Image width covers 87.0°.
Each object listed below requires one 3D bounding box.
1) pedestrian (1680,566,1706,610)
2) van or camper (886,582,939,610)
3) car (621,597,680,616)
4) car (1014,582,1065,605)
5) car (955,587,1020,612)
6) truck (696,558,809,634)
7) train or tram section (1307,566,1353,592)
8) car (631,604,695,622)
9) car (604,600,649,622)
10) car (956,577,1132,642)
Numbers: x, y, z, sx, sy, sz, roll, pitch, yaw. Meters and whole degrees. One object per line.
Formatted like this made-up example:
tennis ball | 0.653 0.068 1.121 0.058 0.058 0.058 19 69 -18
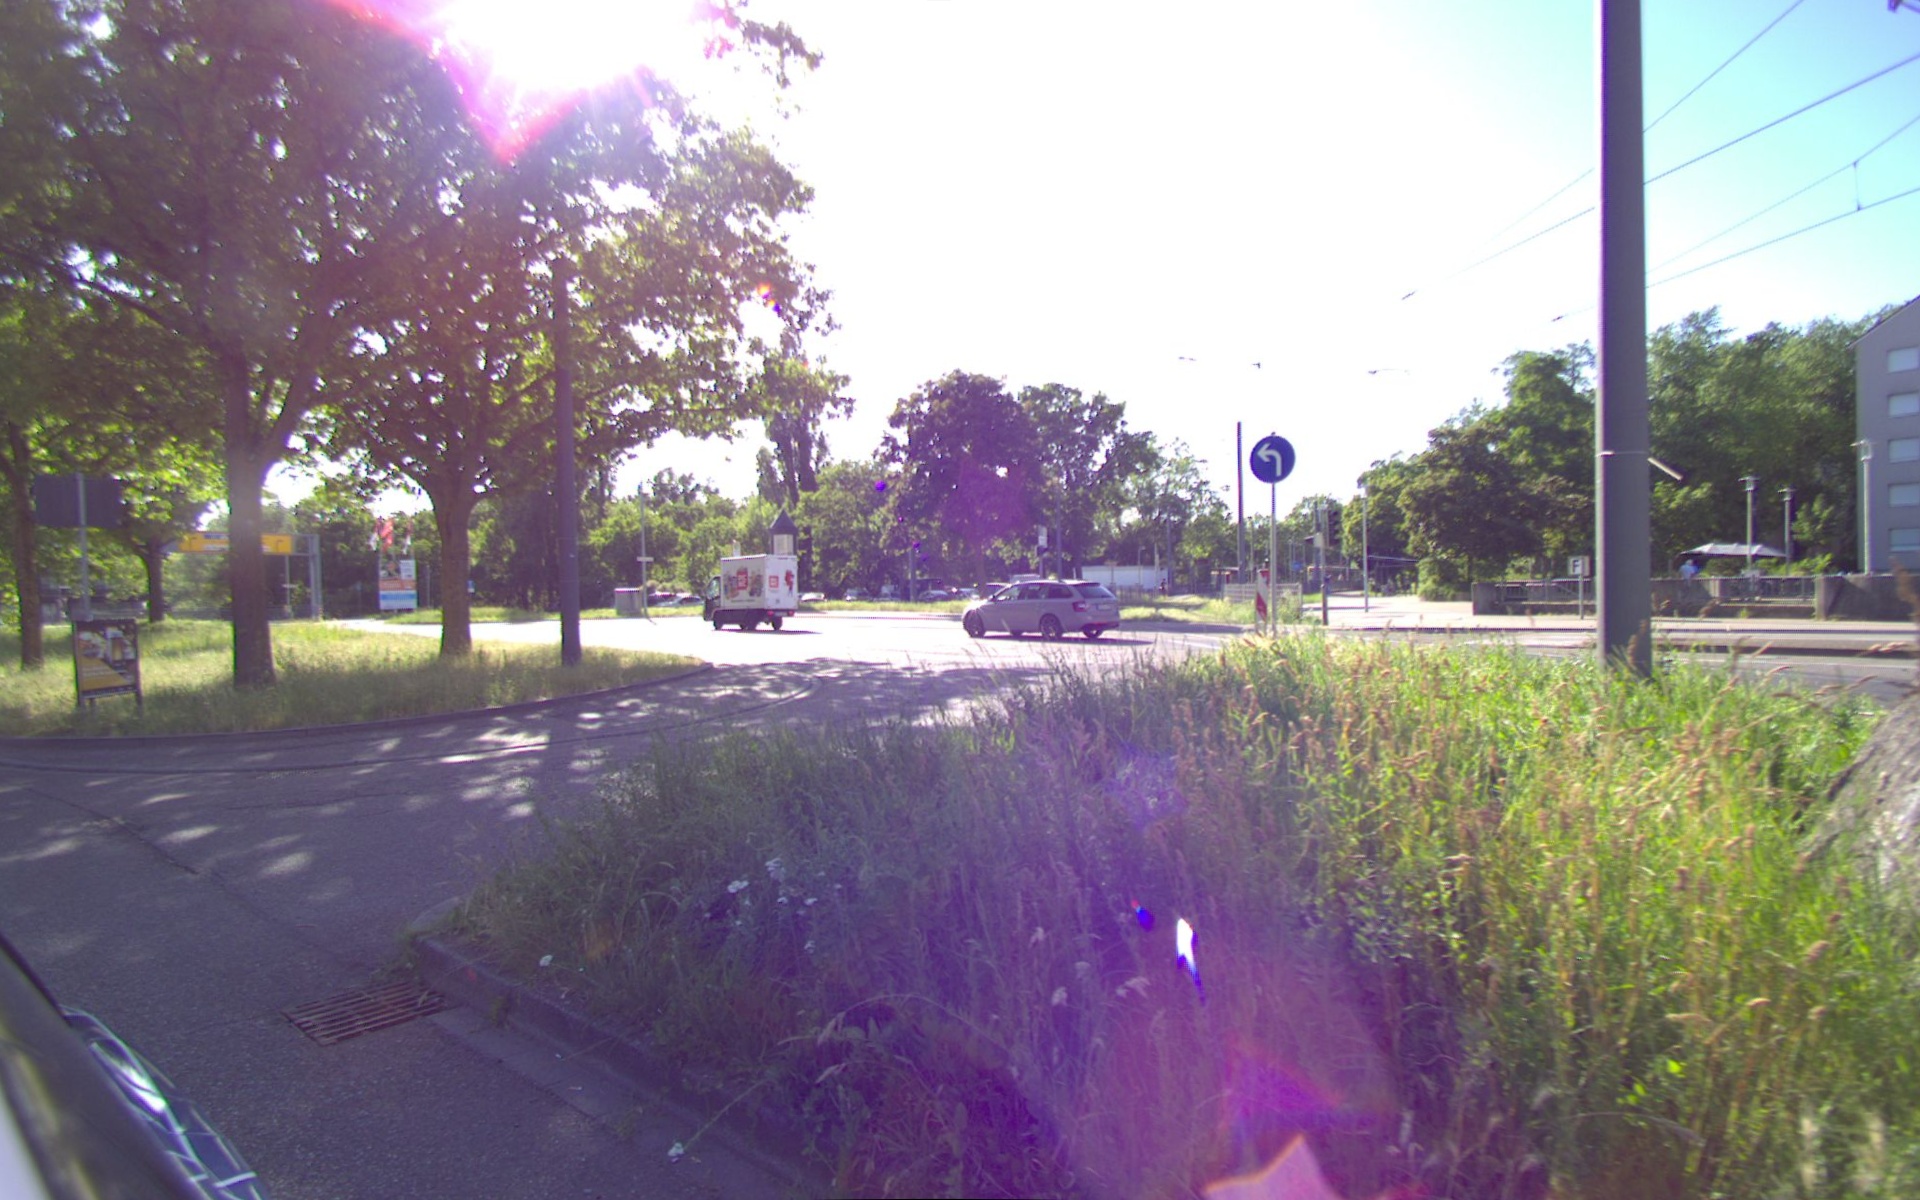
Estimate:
pedestrian | 31.172 -0.524 43.016 0.550 1.843 0.729 -2 1 -35
van or camper | -3.840 -0.328 81.185 1.968 2.112 4.409 -2 1 -39
car | -26.928 0.565 88.055 4.498 1.475 1.998 -2 2 5
car | 6.448 -0.561 81.941 3.921 1.732 1.876 -2 1 10
car | 1.905 -0.024 69.695 3.975 1.579 1.985 -1 1 23
truck | -7.214 -0.137 34.976 4.112 2.445 1.768 -1 1 45
train or tram section | 46.736 -2.691 127.301 2.459 2.962 19.650 -1 1 29
car | -20.063 0.883 68.332 3.981 1.137 1.805 -1 1 28
car | -23.557 0.750 71.372 1.792 1.459 4.009 -2 1 -37
car | 2.004 0.225 25.329 1.643 1.459 4.406 -2 1 -43
